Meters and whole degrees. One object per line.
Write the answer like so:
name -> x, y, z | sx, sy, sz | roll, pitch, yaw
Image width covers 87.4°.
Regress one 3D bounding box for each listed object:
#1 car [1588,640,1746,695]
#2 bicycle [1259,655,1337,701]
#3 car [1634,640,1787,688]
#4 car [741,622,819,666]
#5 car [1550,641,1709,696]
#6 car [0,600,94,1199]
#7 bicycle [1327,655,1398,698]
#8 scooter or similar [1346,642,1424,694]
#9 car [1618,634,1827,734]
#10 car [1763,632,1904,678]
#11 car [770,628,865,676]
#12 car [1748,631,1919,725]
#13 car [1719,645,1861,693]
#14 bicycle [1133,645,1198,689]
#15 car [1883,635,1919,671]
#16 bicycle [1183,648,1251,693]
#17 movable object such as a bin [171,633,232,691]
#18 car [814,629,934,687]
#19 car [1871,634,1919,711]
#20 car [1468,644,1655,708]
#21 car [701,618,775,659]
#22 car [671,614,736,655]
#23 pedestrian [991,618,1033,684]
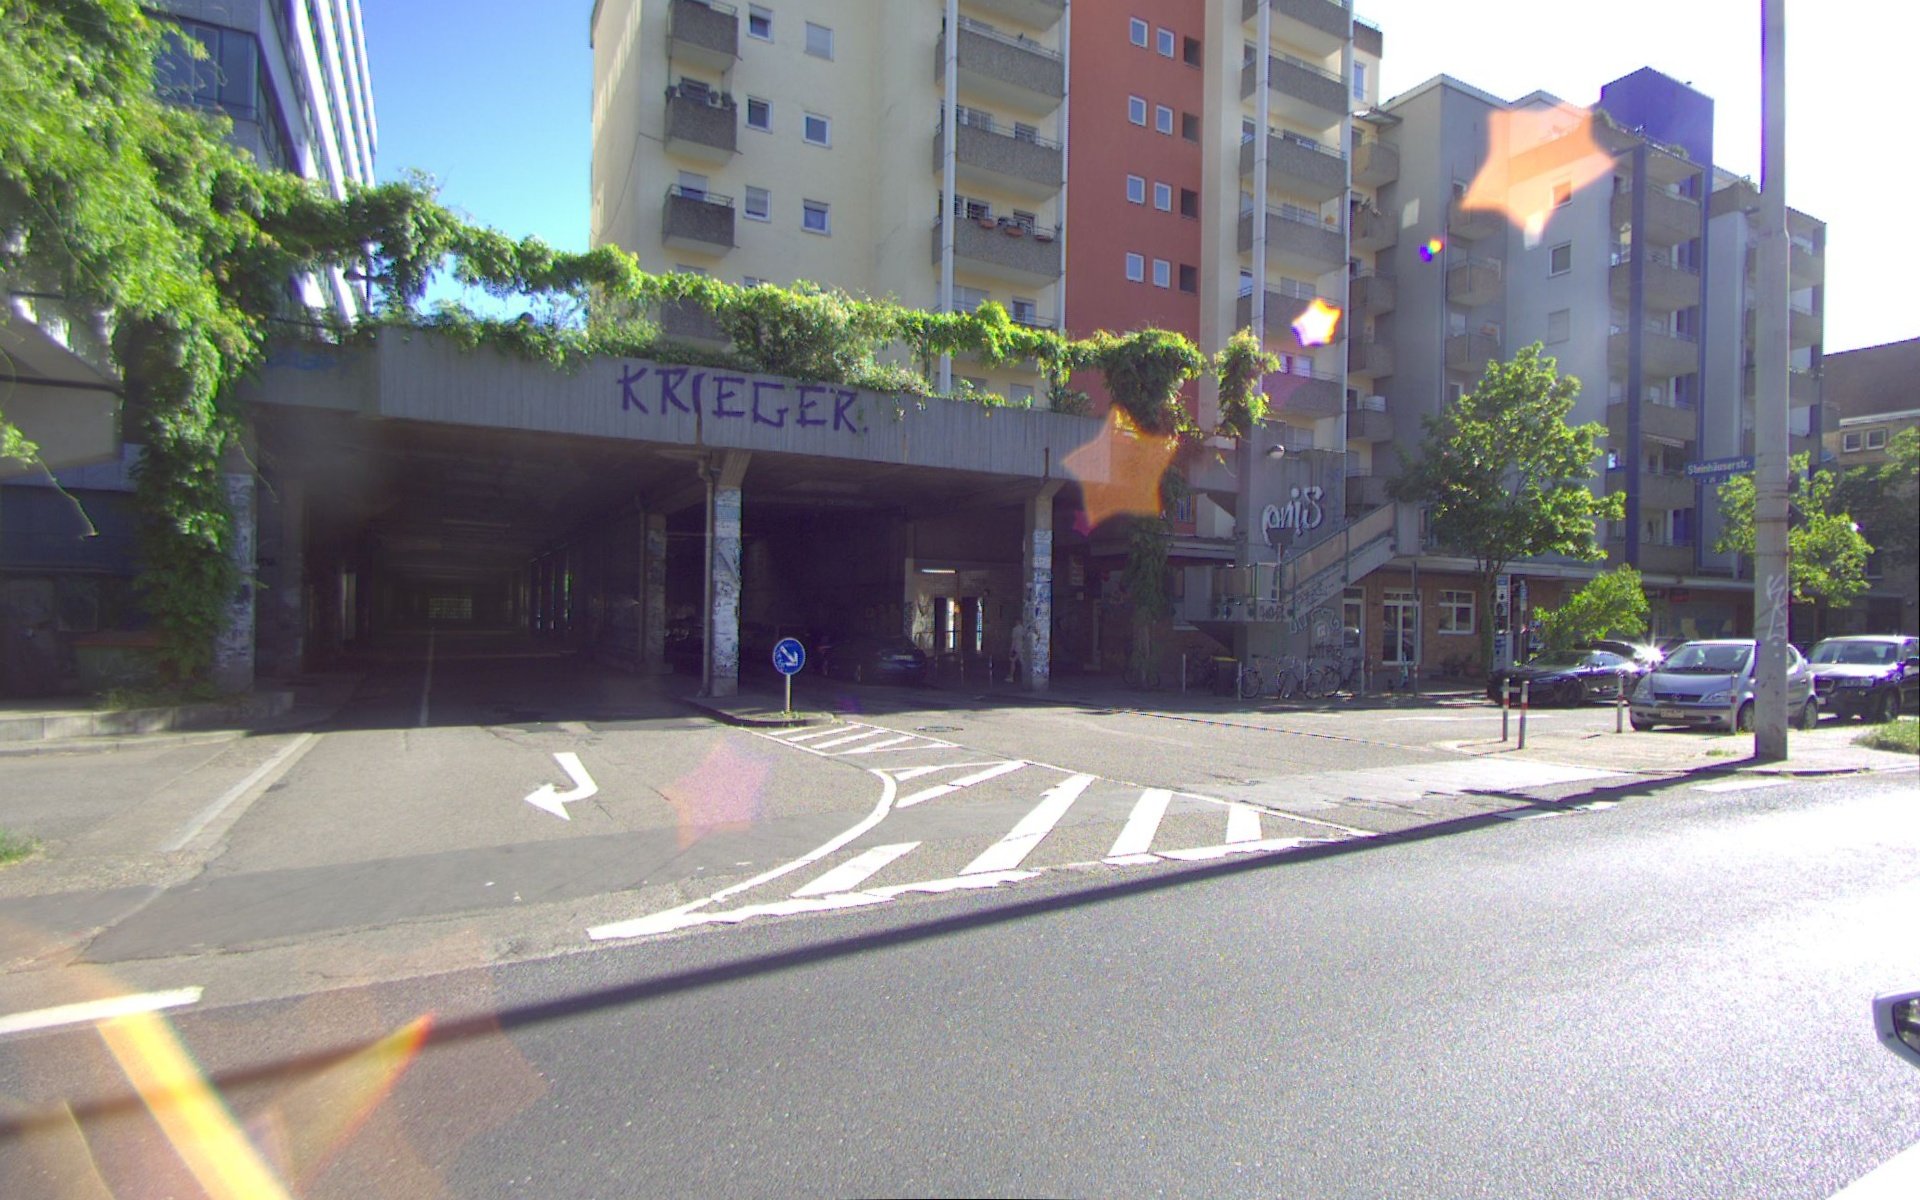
car -> 23.713, 2.229, 33.825 | 1.821, 1.629, 3.966 | 2, -1, -31
bicycle -> 8.081, 1.858, 24.041 | 1.771, 1.045, 0.414 | 1, 2, -12
car -> 26.007, 2.181, 34.934 | 1.668, 1.443, 3.966 | 2, -1, -31
car -> -6.675, 1.578, 37.015 | 1.591, 1.507, 3.606 | 2, -1, -32
car -> 21.656, 2.159, 32.636 | 1.750, 1.571, 3.966 | 2, -1, -31
car -> -4.125, 0.678, 1.035 | 4.536, 1.478, 1.858 | 2, -2, -28
bicycle -> 10.072, 1.908, 25.107 | 1.774, 1.014, 0.413 | 1, 2, -19
scooter or similar -> 11.520, 1.815, 27.281 | 0.624, 1.294, 1.955 | 1, -1, -33
car -> 13.159, 1.376, 17.313 | 3.492, 1.538, 1.711 | 2, -2, -31
car -> 34.848, 2.168, 40.174 | 1.668, 1.651, 3.966 | 2, -1, -31
car -> -4.734, 1.661, 32.944 | 1.746, 1.429, 4.032 | 1, -1, -29
car -> 17.633, 1.462, 19.660 | 4.448, 1.649, 1.861 | 2, -2, -28
car -> 32.403, 2.649, 39.320 | 1.668, 1.651, 3.966 | 2, -1, -31
bicycle -> 5.251, 1.694, 25.770 | 0.480, 1.014, 1.784 | 0, 0, -36
car -> 45.084, 2.453, 45.903 | 1.668, 1.651, 3.966 | 2, -1, -31
bicycle -> 6.441, 1.755, 25.221 | 1.592, 1.014, 0.413 | 2, 1, 39
movable object such as a bin -> -12.541, 1.021, 16.623 | 0.710, 0.917, 0.636 | 2, -1, -30
car -> -2.532, 1.602, 28.561 | 1.833, 1.451, 4.576 | 3, -2, -26
car -> 22.914, 1.634, 22.863 | 4.476, 1.683, 1.880 | 2, -3, -29
car -> 14.814, 1.827, 24.711 | 4.470, 1.416, 1.884 | 2, -2, -27
car -> -9.038, 1.538, 40.699 | 1.716, 1.566, 4.121 | 1, -1, -31
car -> -11.645, 1.516, 45.375 | 1.836, 1.688, 4.338 | 2, -1, -28
pedestrian -> 1.411, 1.374, 27.363 | 0.787, 1.722, 0.752 | 2, 1, -29
